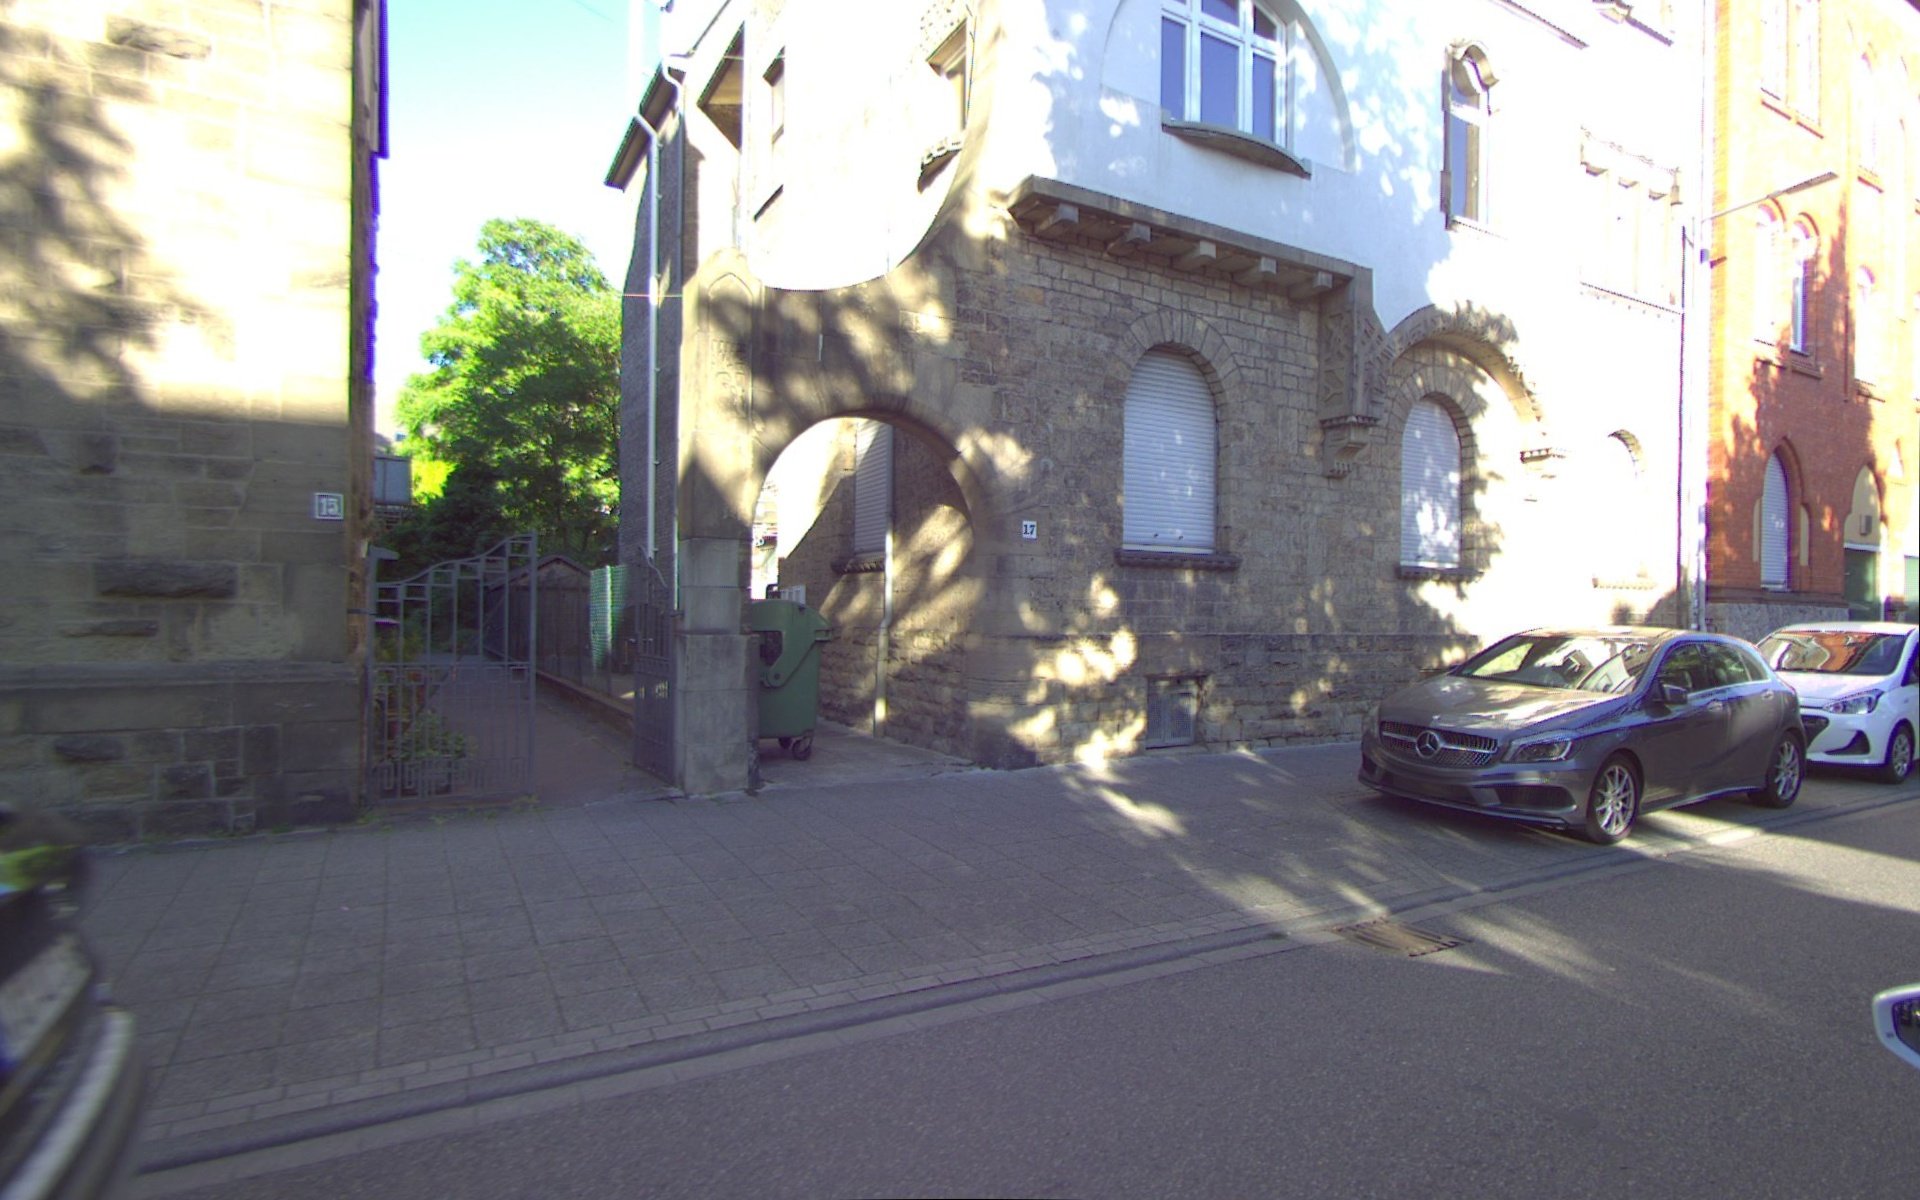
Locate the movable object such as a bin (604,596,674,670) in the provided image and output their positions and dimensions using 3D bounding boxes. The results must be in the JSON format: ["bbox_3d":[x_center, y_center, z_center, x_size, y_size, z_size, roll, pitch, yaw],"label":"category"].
[{"bbox_3d":[-6.792,0.684,21.225,1.160,1.498,1.187,2,0,-30],"label":"movable object such as a bin"}]

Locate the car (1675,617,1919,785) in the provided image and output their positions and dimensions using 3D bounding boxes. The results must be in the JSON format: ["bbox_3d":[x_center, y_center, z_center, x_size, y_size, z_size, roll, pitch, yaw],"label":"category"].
[{"bbox_3d":[9.415,0.950,10.666,3.546,1.490,1.560,1,0,-28],"label":"car"}]

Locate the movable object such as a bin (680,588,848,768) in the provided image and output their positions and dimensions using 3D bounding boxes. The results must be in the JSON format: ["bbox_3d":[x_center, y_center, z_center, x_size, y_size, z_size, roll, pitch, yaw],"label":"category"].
[{"bbox_3d":[-1.815,0.664,9.201,1.160,1.498,1.187,2,0,-30],"label":"movable object such as a bin"}]

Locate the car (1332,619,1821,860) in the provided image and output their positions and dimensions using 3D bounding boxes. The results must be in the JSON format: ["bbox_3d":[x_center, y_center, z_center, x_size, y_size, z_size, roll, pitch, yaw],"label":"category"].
[{"bbox_3d":[5.029,0.910,8.067,4.064,1.462,1.668,1,1,-31],"label":"car"}]

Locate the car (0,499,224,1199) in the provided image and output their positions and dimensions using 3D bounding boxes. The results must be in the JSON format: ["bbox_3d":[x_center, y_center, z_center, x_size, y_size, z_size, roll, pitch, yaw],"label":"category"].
[{"bbox_3d":[-2.953,0.640,0.734,3.716,1.497,1.619,1,-2,-31],"label":"car"}]
